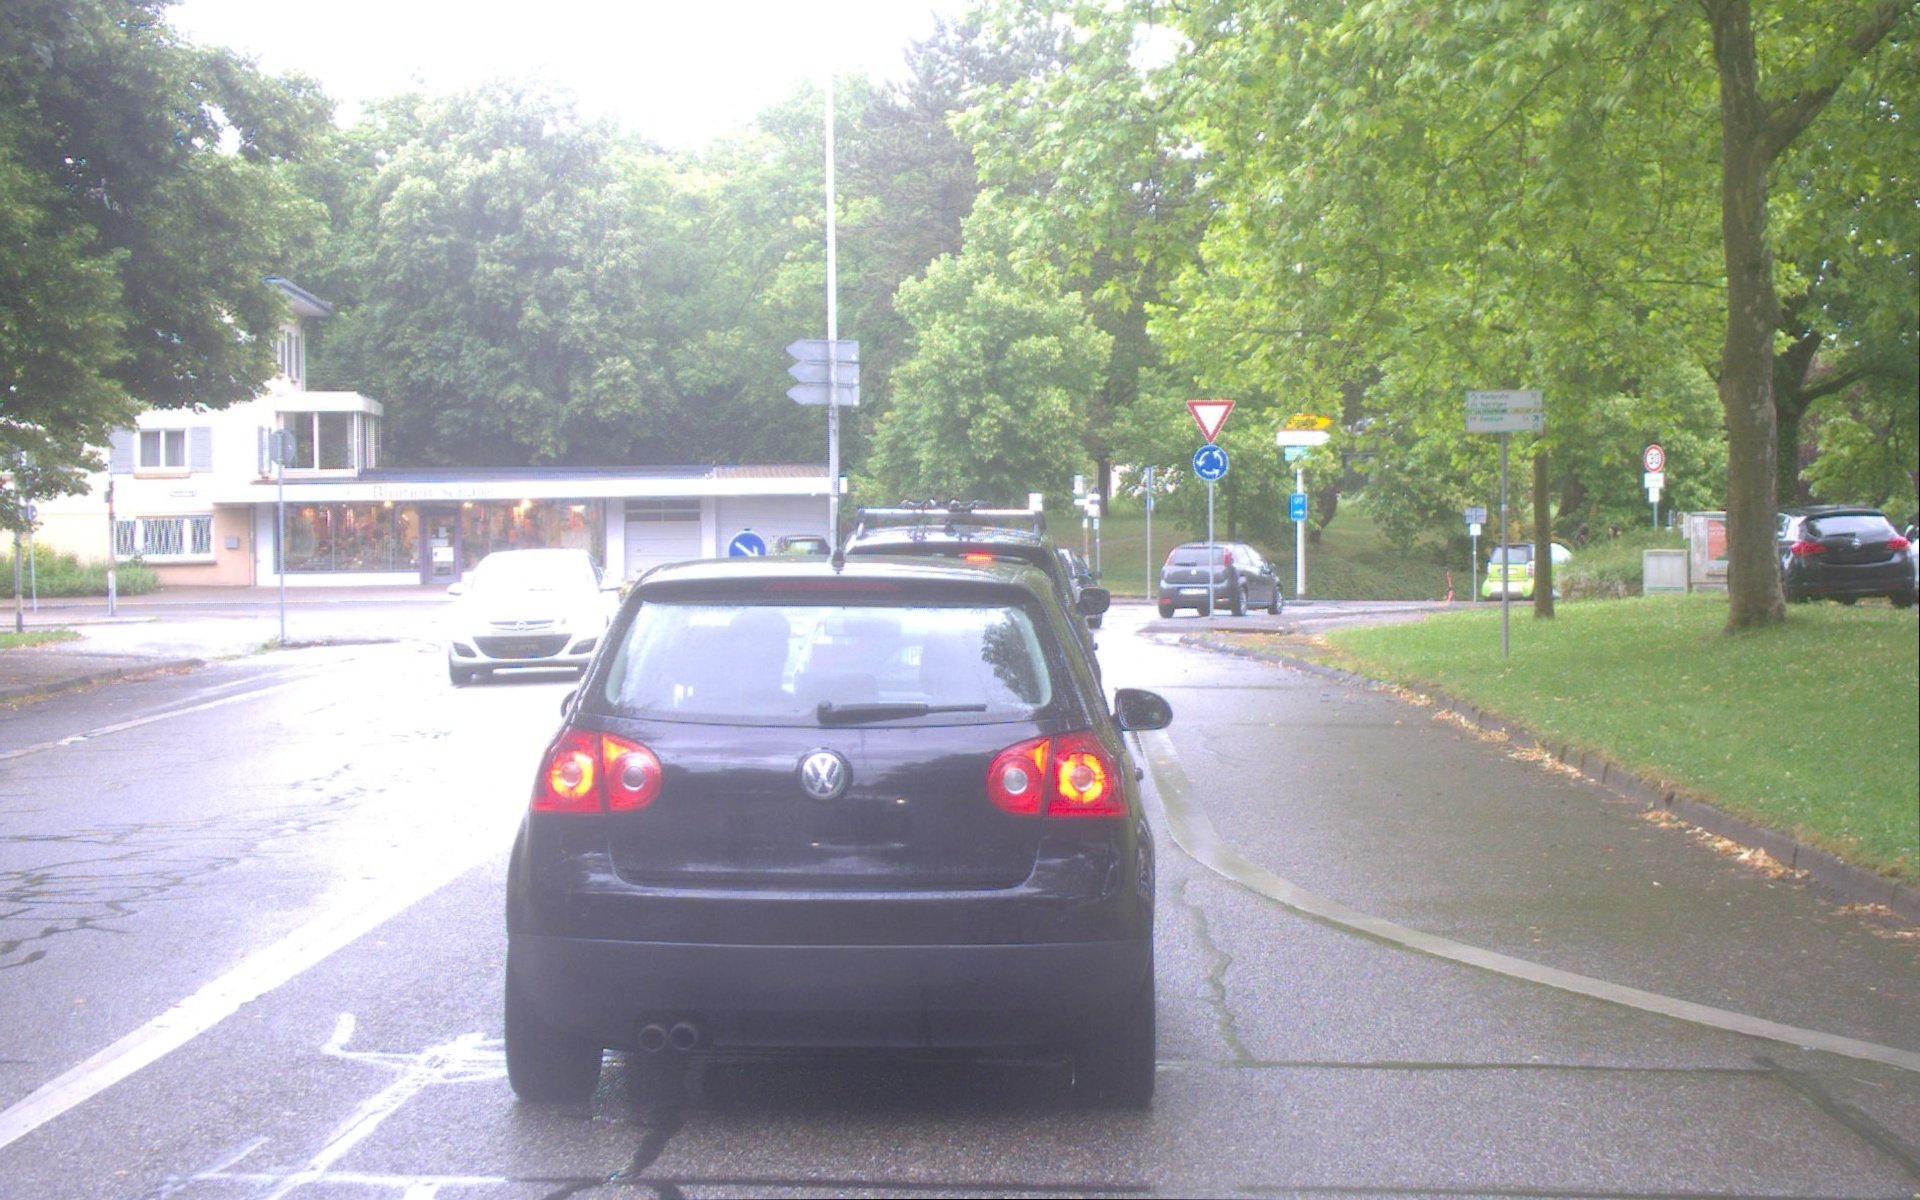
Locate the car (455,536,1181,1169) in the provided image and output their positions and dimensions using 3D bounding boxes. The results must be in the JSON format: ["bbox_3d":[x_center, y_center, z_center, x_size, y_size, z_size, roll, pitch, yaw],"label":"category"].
[{"bbox_3d":[-0.373,0.604,10.478,1.764,1.533,4.000,1,1,-1],"label":"car"}]

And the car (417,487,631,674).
[{"bbox_3d":[-4.990,-0.238,39.899,1.993,2.007,4.574,1,1,-2],"label":"car"}]

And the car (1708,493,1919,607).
[{"bbox_3d":[11.996,-0.697,48.541,1.764,1.466,4.598,-2,1,-1],"label":"car"}]

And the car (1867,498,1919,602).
[{"bbox_3d":[14.454,-0.737,48.784,1.845,1.466,4.426,-2,1,-2],"label":"car"}]

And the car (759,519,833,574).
[{"bbox_3d":[-4.659,-1.528,97.149,1.812,1.481,3.832,-2,1,-6],"label":"car"}]

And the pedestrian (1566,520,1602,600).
[{"bbox_3d":[13.487,-0.862,74.317,0.528,1.707,0.636,1,0,-14],"label":"pedestrian"}]

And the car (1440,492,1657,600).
[{"bbox_3d":[10.586,-1.001,62.174,1.993,1.735,4.145,2,2,-20],"label":"car"}]

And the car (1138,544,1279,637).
[{"bbox_3d":[4.923,-0.189,67.536,1.995,1.525,3.998,-8,-1,13],"label":"car"}]

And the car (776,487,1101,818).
[{"bbox_3d":[-0.142,0.271,21.253,1.764,1.795,4.246,-1,1,-1],"label":"car"}]

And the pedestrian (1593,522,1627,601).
[{"bbox_3d":[14.143,-0.830,74.780,0.634,1.707,0.529,1,0,17],"label":"pedestrian"}]

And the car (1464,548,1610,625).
[{"bbox_3d":[13.590,-0.304,80.876,1.818,1.744,3.992,1,1,35],"label":"car"}]
